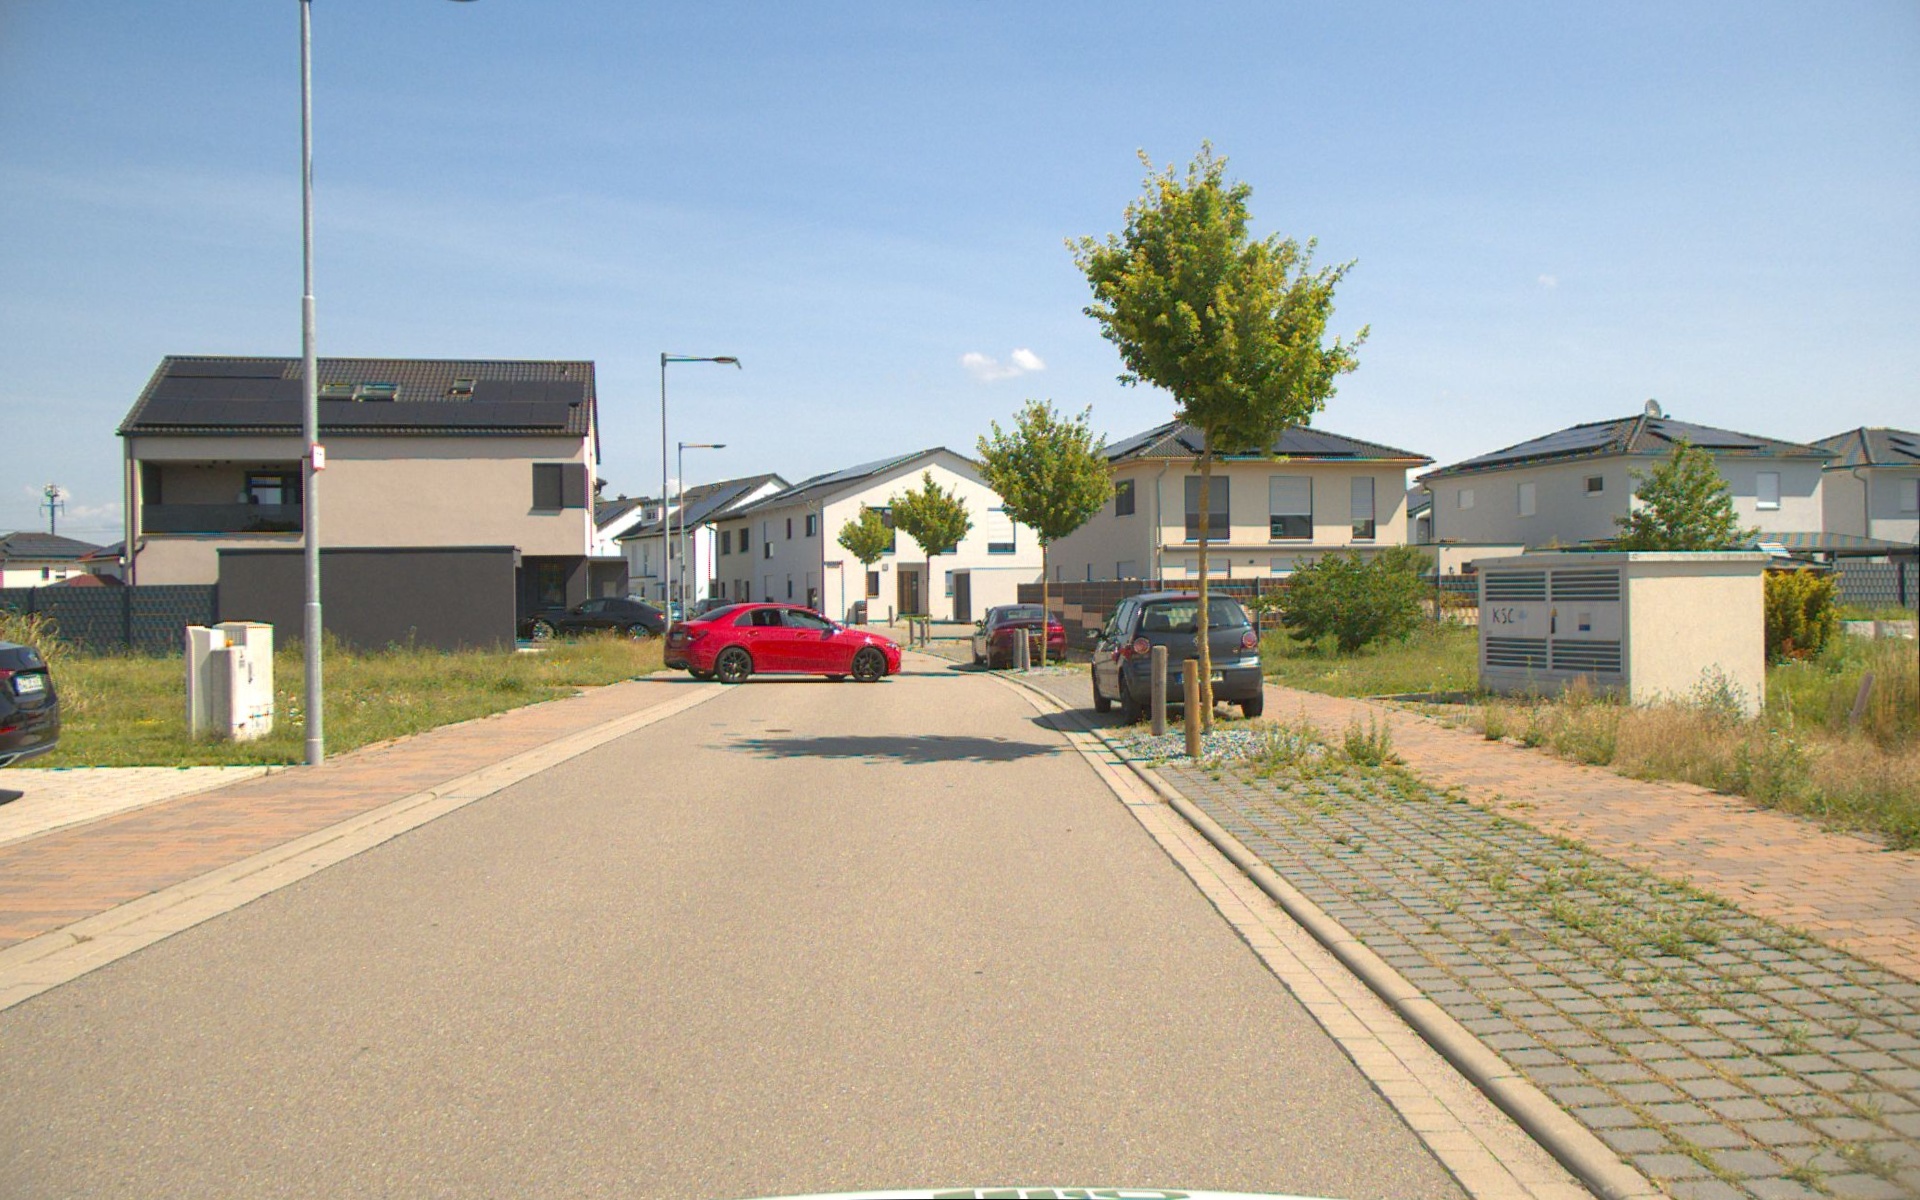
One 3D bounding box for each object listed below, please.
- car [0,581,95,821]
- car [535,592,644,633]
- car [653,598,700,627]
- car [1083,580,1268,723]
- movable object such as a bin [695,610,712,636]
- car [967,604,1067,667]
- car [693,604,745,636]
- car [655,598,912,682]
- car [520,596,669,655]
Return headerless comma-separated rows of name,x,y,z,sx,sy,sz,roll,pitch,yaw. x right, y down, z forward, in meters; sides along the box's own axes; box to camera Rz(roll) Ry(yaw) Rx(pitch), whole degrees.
car,-8.112,0.608,10.505,4.319,1.478,1.742,0,0,-15
car,-14.086,0.476,63.062,3.912,1.512,1.751,0,0,-8
car,-15.451,0.689,90.020,1.655,1.489,3.916,-2,0,-23
car,2.518,0.561,20.066,1.566,1.501,3.673,-3,0,-2
movable object such as a bin,-9.445,0.844,60.856,0.524,0.952,0.526,1,0,-1
car,1.285,0.789,39.009,1.721,1.387,4.569,0,0,-6
car,-11.793,0.972,80.781,1.702,1.447,3.975,-2,0,-21
car,-3.249,0.702,30.711,4.456,1.463,1.751,0,0,-30
car,-11.095,0.785,50.513,4.295,1.660,1.767,2,-1,-10
